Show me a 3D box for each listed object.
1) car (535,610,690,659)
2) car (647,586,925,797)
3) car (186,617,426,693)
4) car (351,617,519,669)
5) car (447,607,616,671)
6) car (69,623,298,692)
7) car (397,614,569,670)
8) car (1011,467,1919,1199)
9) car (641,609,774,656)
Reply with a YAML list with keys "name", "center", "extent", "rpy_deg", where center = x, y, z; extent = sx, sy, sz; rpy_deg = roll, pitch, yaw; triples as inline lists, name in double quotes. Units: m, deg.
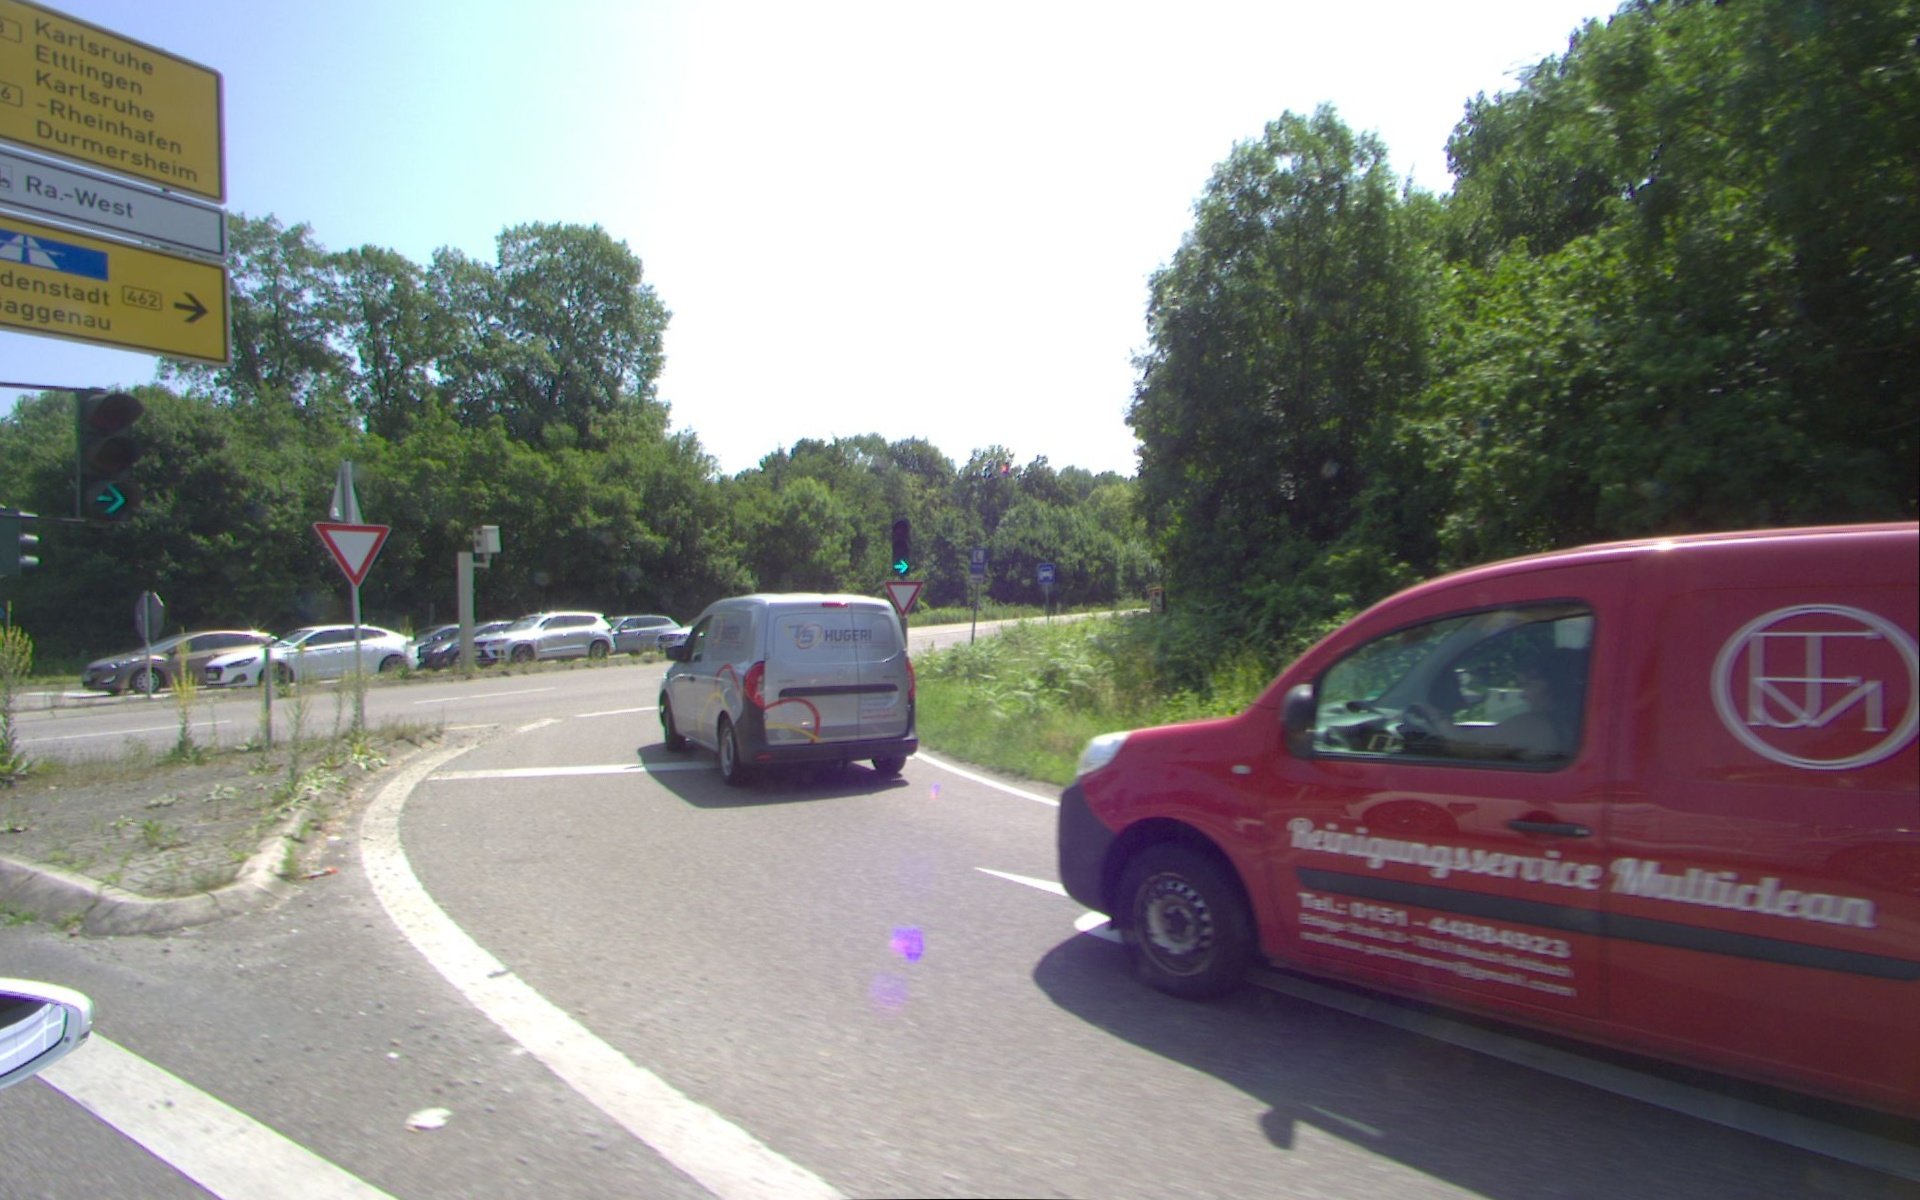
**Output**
- name: "car"
  center: [-12.509, 1.217, 36.398]
  extent: [2.108, 1.553, 5.117]
  rpy_deg: [-2, 0, 32]
- name: "car"
  center: [-2.060, 0.831, 10.769]
  extent: [1.736, 1.796, 4.093]
  rpy_deg: [1, -1, -29]
- name: "car"
  center: [-15.506, 1.242, 24.003]
  extent: [1.971, 1.555, 4.412]
  rpy_deg: [-1, 0, 30]
- name: "car"
  center: [-17.604, 1.407, 33.788]
  extent: [2.082, 1.518, 4.607]
  rpy_deg: [-2, -1, 32]
- name: "car"
  center: [-12.471, 1.097, 29.404]
  extent: [1.972, 1.681, 4.163]
  rpy_deg: [-1, 0, 32]
- name: "car"
  center: [-19.302, 1.370, 25.086]
  extent: [1.966, 1.466, 4.086]
  rpy_deg: [-1, 0, 30]
- name: "car"
  center: [-14.820, 1.269, 31.347]
  extent: [2.092, 1.555, 4.410]
  rpy_deg: [-2, -1, 32]
- name: "car"
  center: [2.444, 0.631, 3.614]
  extent: [4.449, 1.846, 1.782]
  rpy_deg: [-2, -2, 43]
- name: "car"
  center: [-8.769, 1.107, 35.111]
  extent: [1.946, 1.433, 4.321]
  rpy_deg: [-2, 0, 33]
